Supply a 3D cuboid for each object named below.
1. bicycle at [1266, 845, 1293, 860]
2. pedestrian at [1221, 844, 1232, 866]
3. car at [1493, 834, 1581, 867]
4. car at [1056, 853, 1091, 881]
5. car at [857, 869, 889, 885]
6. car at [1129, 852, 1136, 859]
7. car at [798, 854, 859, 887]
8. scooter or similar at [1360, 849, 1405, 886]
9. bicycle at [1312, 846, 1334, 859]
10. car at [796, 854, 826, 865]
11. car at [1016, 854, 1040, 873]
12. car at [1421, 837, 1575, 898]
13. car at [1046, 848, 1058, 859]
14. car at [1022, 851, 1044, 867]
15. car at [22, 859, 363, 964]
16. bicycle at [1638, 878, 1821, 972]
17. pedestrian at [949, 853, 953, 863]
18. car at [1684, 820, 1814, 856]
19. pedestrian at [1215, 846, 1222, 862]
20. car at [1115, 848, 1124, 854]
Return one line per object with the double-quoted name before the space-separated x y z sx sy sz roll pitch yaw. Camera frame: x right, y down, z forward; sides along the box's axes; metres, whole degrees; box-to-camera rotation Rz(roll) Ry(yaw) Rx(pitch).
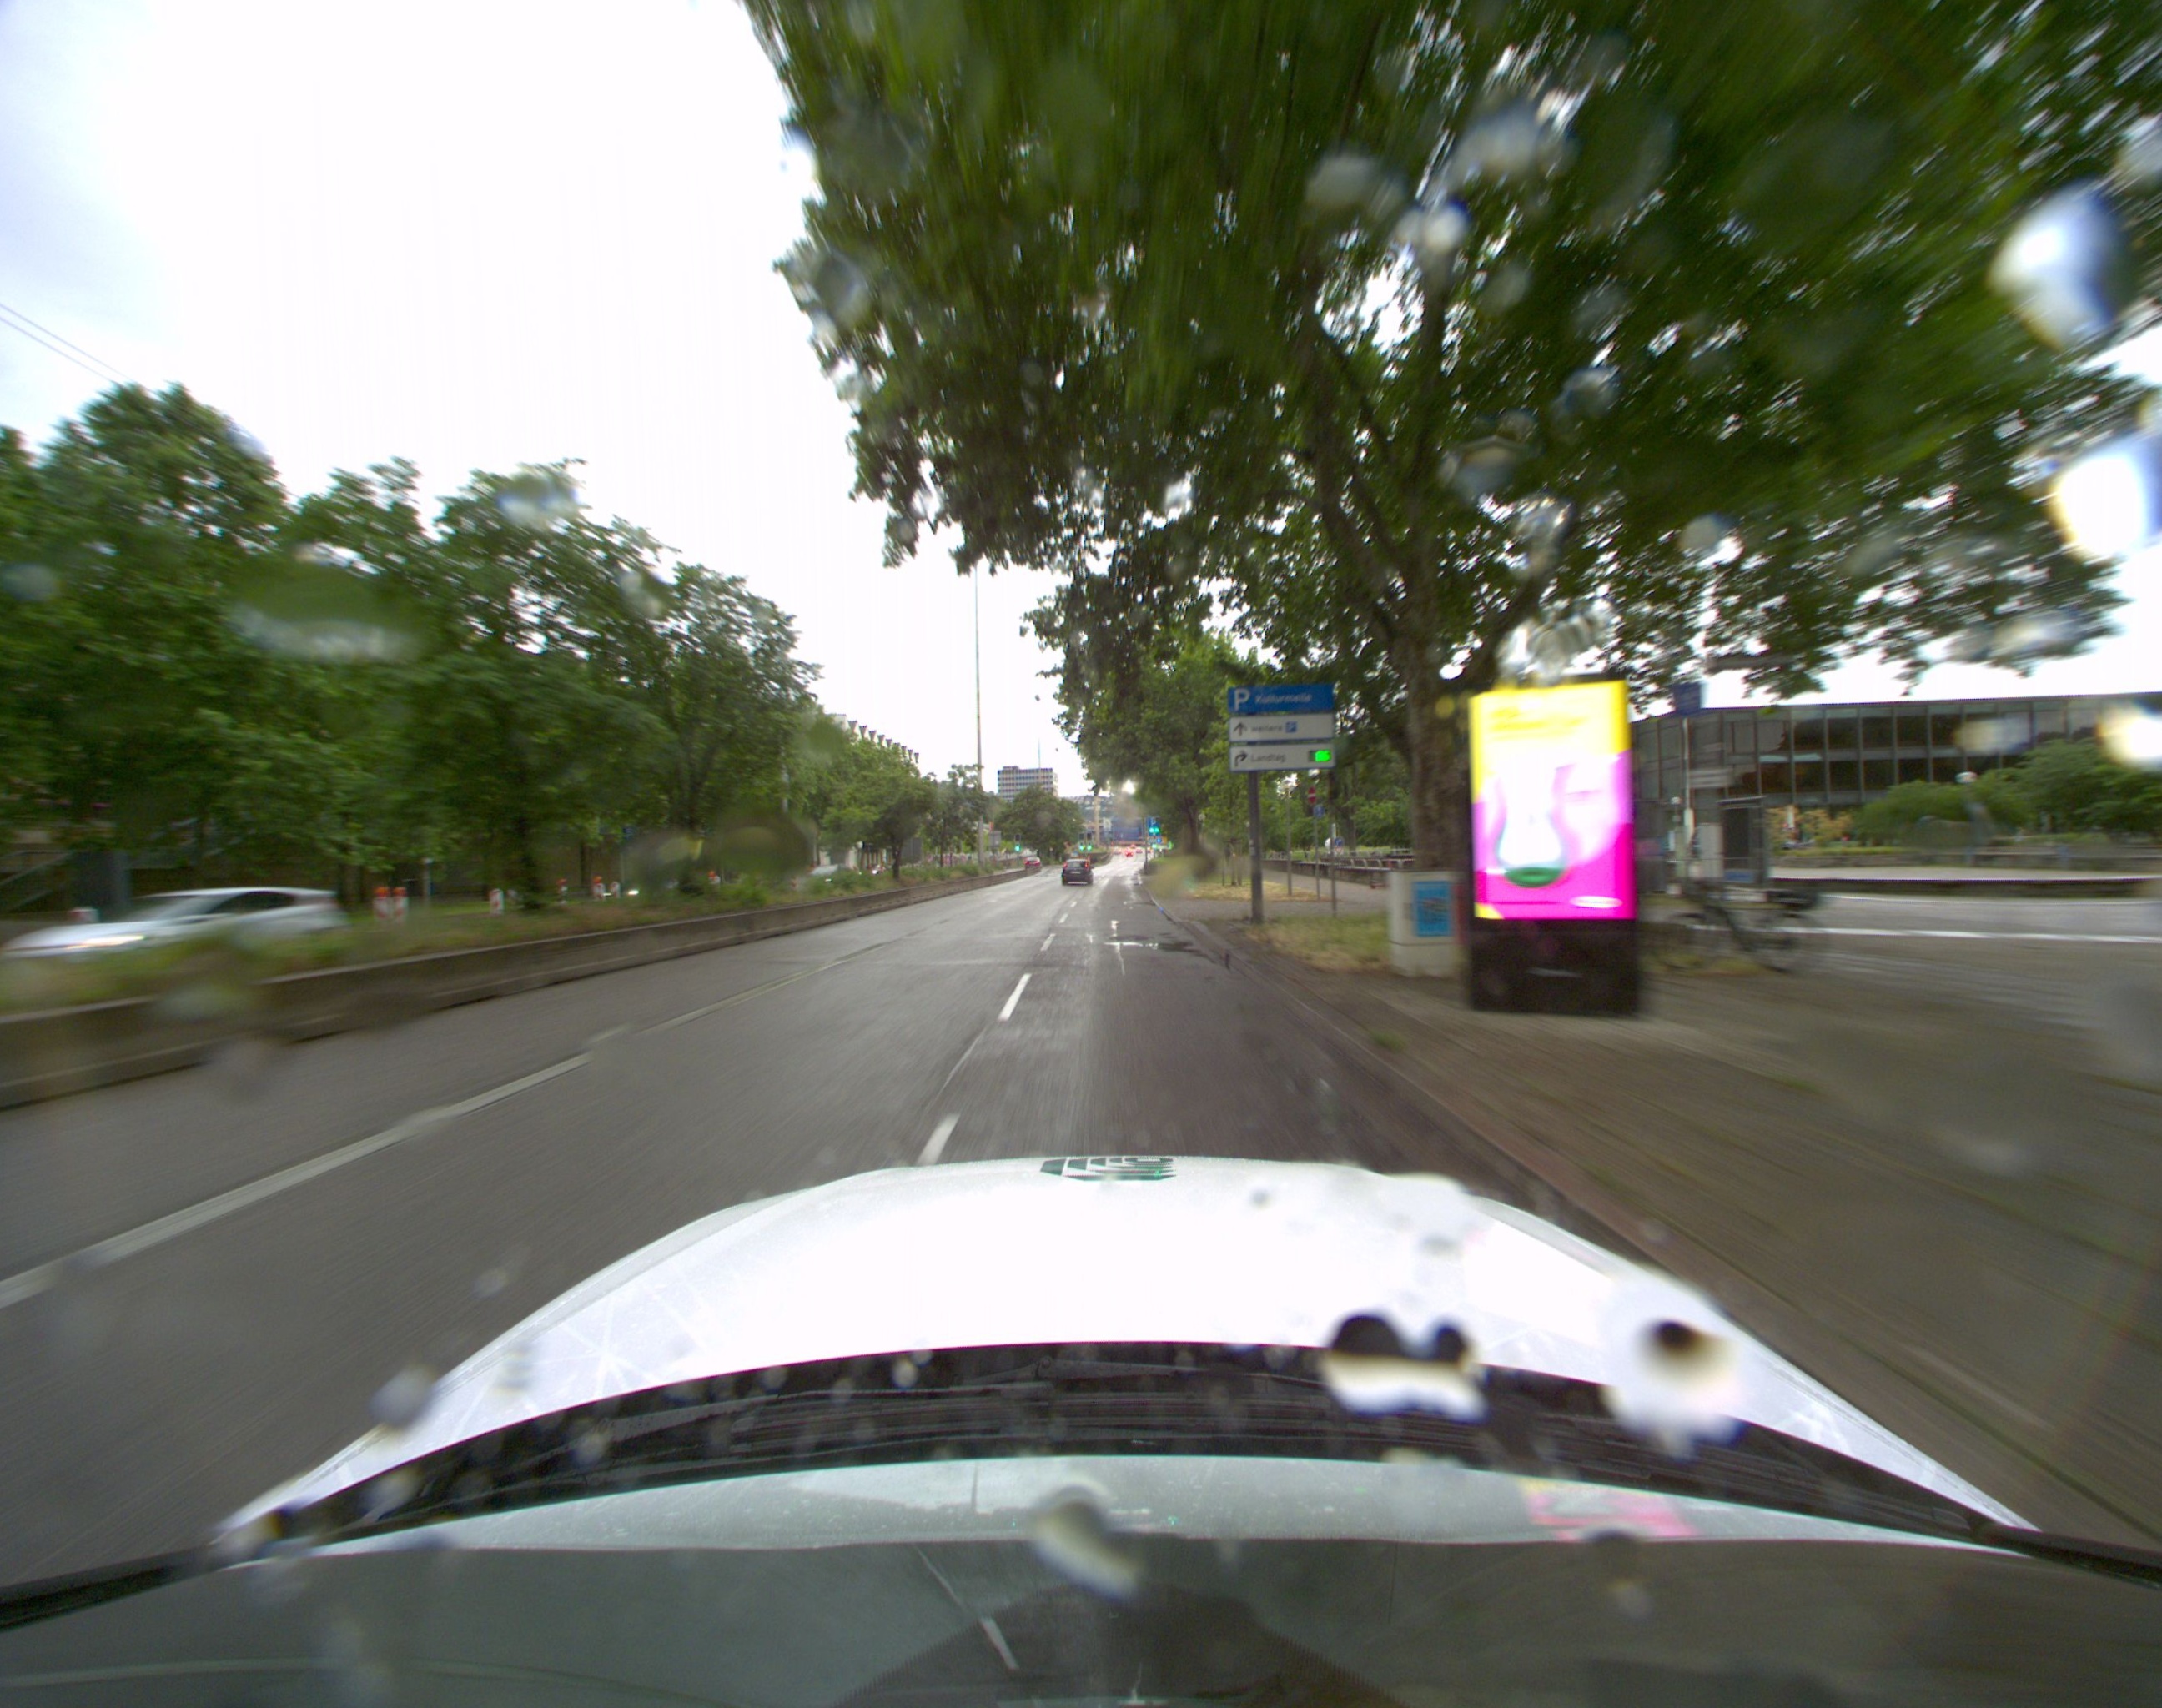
"bicycle" 16.693 -0.110 68.561 2.033 1.173 0.957 -2 0 -8
"pedestrian" 11.567 0.052 64.729 0.702 1.718 0.693 -3 0 3
"car" 25.609 -0.195 45.812 3.969 1.600 1.658 -3 0 4
"car" -0.466 0.755 46.990 1.839 1.416 3.835 -3 -1 -3
"car" -21.308 2.321 83.492 1.985 1.530 4.004 -3 -1 3
"car" 14.289 0.503 227.757 1.733 1.771 4.001 -3 -1 1
"car" -12.921 0.807 41.931 1.988 1.596 3.997 -1 0 -2
"scooter or similar" 10.561 0.478 28.550 0.545 1.255 1.423 -2 0 -30
"bicycle" 21.399 -0.114 71.998 1.637 1.085 0.709 -2 1 -3
"car" -42.080 0.790 126.995 3.973 1.596 2.000 -2 0 0
"car" -4.487 0.801 69.206 1.749 1.451 3.999 -2 0 0
"car" 12.319 0.296 24.525 1.987 1.609 5.237 -1 1 1
"car" -4.749 -0.047 133.957 1.988 1.632 3.997 -1 0 -2
"car" -5.588 0.569 95.658 1.984 1.781 4.005 -2 0 4
"car" -15.101 0.882 14.220 1.539 1.508 3.933 -1 0 2
"bicycle" 7.537 0.813 9.516 1.632 1.020 0.576 1 -1 6
"pedestrian" -25.811 0.813 161.583 0.543 2.013 0.525 -2 0 -32
"car" 35.918 -0.818 43.891 4.991 1.764 2.460 -1 0 -1
"pedestrian" 15.589 0.042 92.248 0.592 1.755 0.725 -3 0 1
"car" 12.056 -0.931 256.608 2.205 2.013 4.014 -1 0 12
